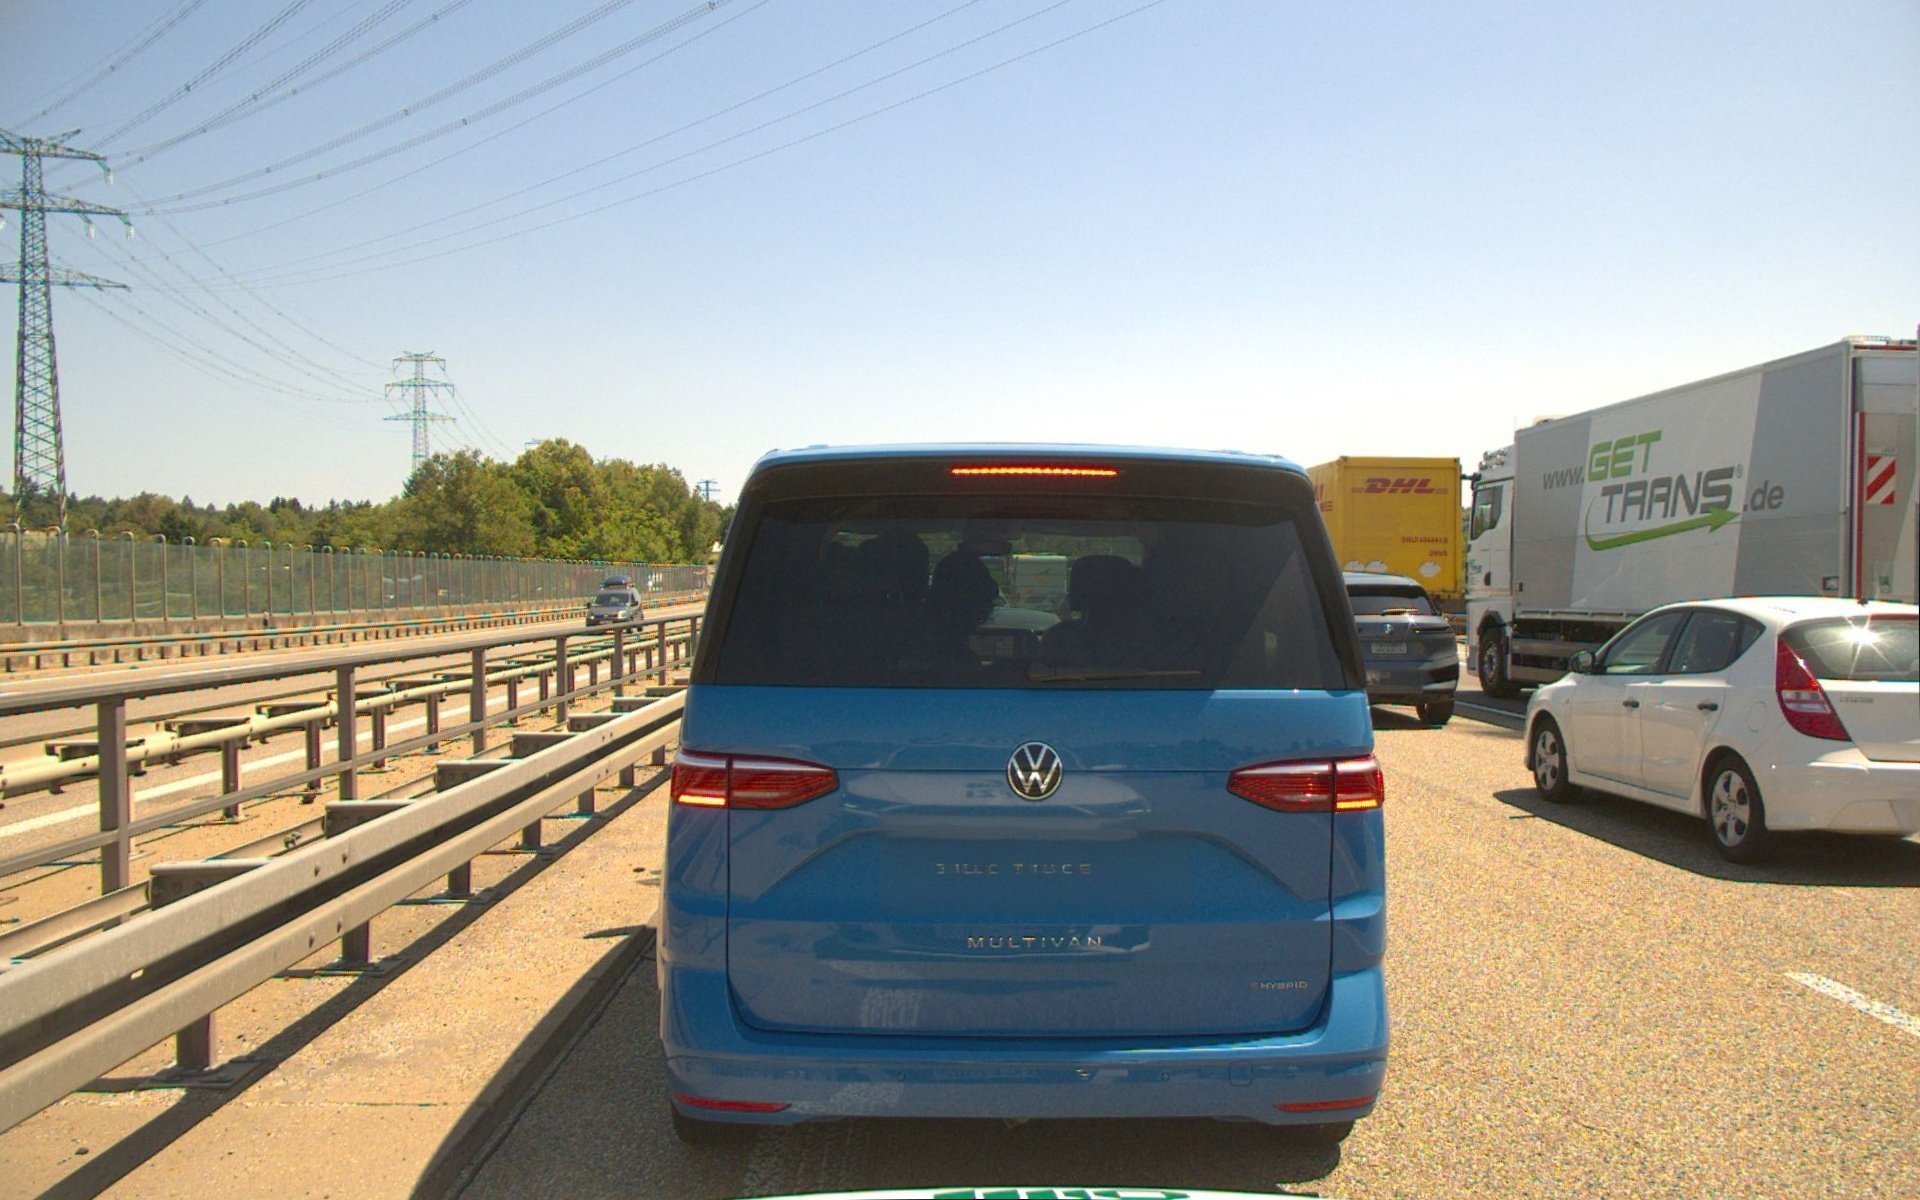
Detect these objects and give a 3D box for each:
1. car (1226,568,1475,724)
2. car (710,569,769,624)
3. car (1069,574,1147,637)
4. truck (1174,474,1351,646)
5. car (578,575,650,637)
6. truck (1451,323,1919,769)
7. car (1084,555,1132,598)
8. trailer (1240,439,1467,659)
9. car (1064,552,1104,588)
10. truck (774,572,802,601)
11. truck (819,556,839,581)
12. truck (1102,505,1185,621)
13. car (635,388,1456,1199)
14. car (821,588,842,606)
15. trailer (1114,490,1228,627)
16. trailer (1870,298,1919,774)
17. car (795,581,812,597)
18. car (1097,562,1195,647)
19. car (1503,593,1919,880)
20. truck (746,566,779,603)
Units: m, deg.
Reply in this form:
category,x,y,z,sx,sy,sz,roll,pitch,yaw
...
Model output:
category,x,y,z,sx,sy,sz,roll,pitch,yaw
car,4.533,0.473,19.865,1.922,1.673,4.292,0,0,-1
car,-9.330,-0.154,70.227,1.825,2.168,4.268,-3,0,0
car,4.439,0.142,50.054,1.953,1.847,3.999,0,0,-1
truck,8.363,-1.044,47.323,2.778,4.317,11.008,1,0,-1
car,-13.617,0.216,65.367,1.953,2.254,4.267,-3,0,-1
truck,8.770,-0.501,19.305,2.603,3.711,11.008,0,0,-1
car,7.338,-1.136,82.274,1.953,2.049,3.999,1,0,-1
trailer,8.574,-1.013,37.331,2.806,4.313,9.010,1,0,-1
car,7.199,-1.730,96.363,1.953,2.049,4.460,-1,0,-1
truck,-20.410,-1.588,196.779,2.468,3.164,8.720,-3,0,-2
truck,-18.936,-4.529,239.795,2.510,3.418,8.860,-2,0,-2
truck,7.623,-1.476,69.377,2.613,4.562,6.848,1,0,-1
car,0.168,0.485,5.672,1.783,1.890,4.074,1,0,-1
car,-11.247,-0.245,144.824,1.586,1.489,3.701,-2,0,-1
trailer,7.695,-1.450,61.750,2.583,4.595,11.299,1,0,-1
trailer,8.975,-0.475,9.791,2.643,3.765,8.013,0,0,-1
car,-22.762,-1.655,241.196,2.040,2.186,4.311,-2,1,-1
car,4.622,0.092,41.659,1.922,2.028,4.292,0,0,-1
car,5.160,0.705,10.817,1.752,1.481,4.292,0,0,-1
truck,-18.774,-1.464,157.394,2.447,3.424,5.833,-2,0,-1
